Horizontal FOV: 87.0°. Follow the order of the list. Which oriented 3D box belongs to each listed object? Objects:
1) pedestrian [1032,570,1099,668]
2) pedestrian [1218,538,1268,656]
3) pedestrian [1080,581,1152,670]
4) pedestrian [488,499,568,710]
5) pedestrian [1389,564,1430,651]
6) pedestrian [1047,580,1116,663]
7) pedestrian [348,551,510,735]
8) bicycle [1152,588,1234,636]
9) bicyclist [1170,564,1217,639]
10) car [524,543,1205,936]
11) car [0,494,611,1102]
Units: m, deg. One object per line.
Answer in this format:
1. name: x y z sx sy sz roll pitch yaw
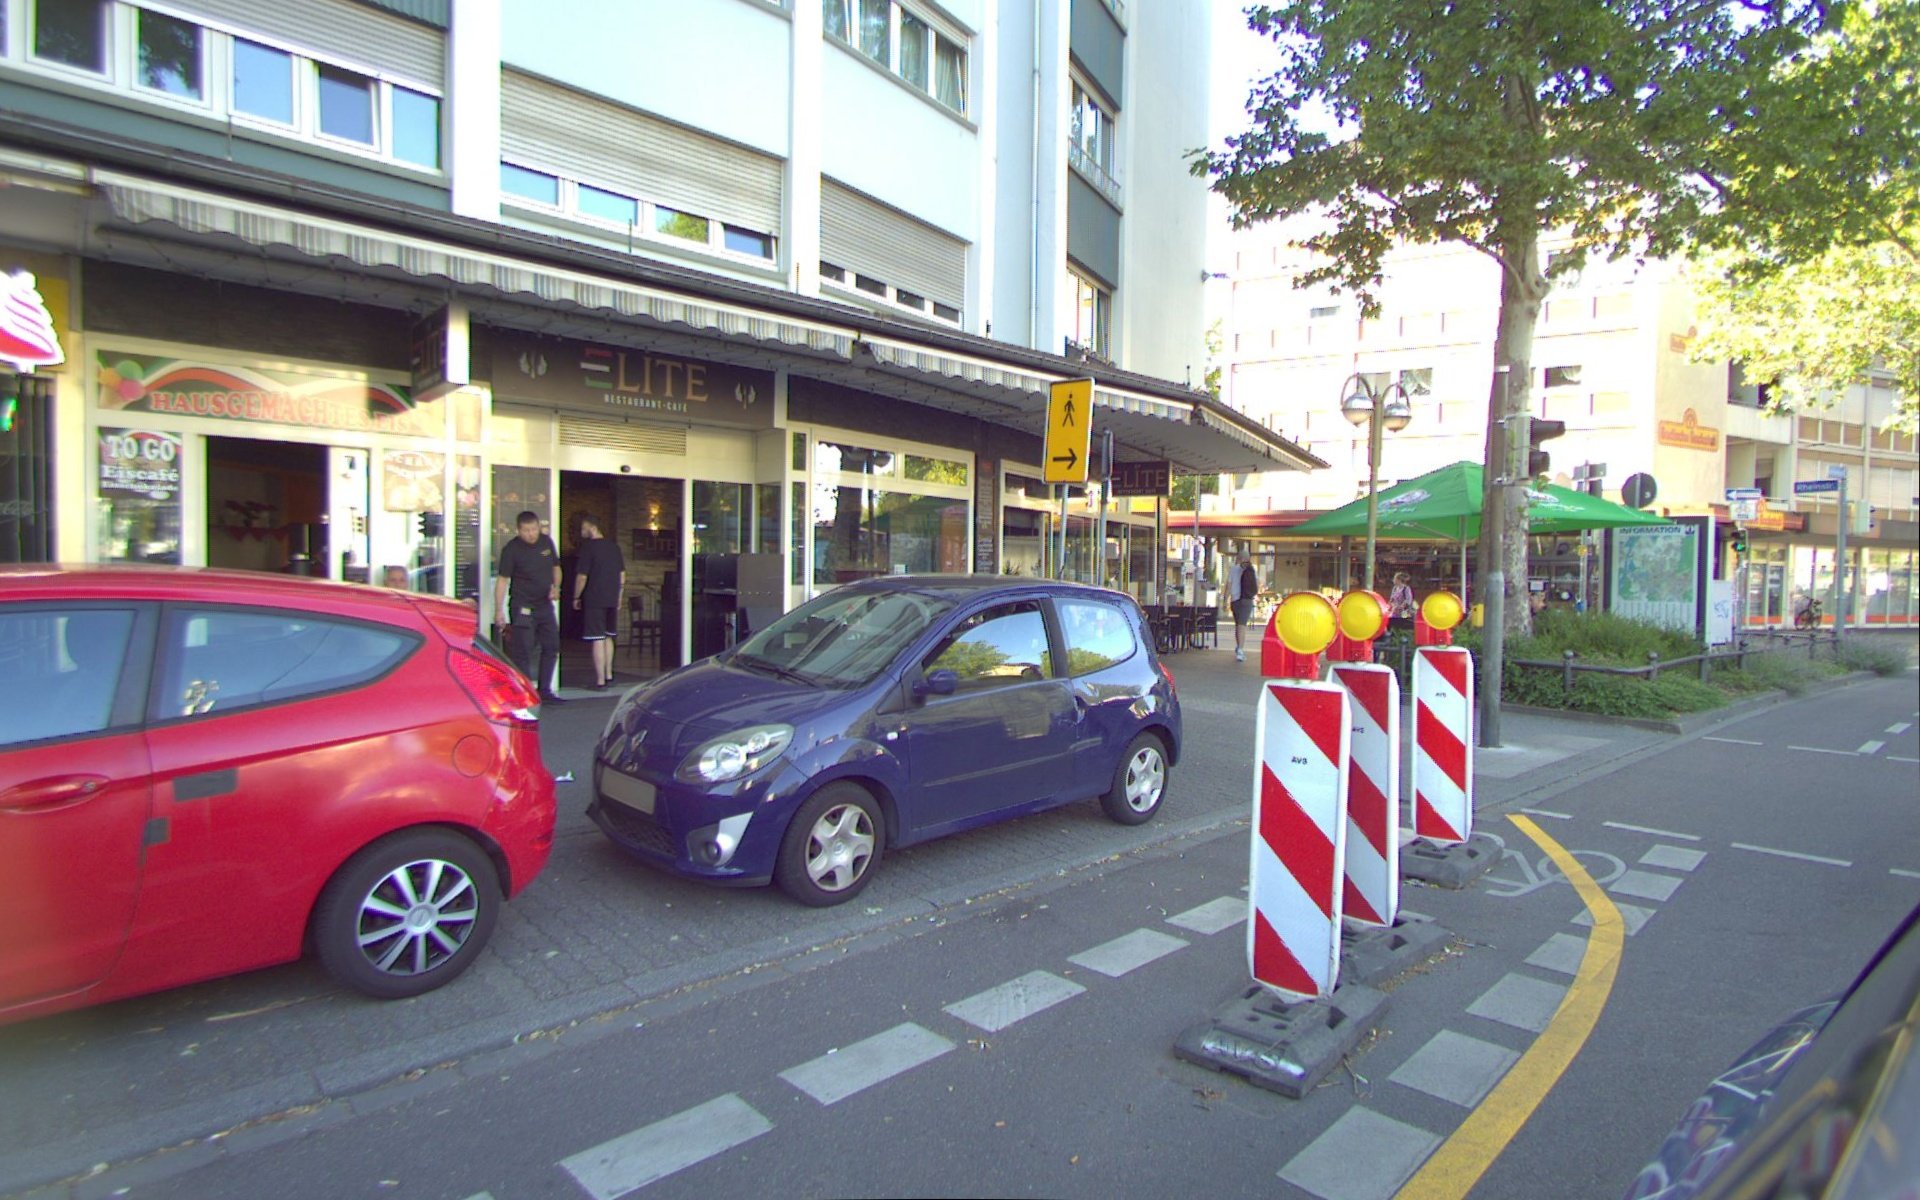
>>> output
1. pedestrian: 1.466 0.254 14.193 0.685 1.323 0.793 1 1 -13
2. pedestrian: 4.903 -0.063 17.505 0.642 1.983 0.881 1 1 26
3. pedestrian: 2.212 0.342 14.424 0.685 1.207 0.881 0 1 -18
4. pedestrian: -3.835 0.023 8.985 0.547 1.800 0.395 -1 4 -43
5. pedestrian: 8.834 0.134 19.909 0.624 1.657 0.525 2 1 34
6. pedestrian: 1.826 0.306 15.182 0.776 1.207 0.648 0 2 -34
7. pedestrian: -4.286 0.297 8.156 0.937 1.352 1.069 0 2 -42
8. bicycle: 5.864 0.289 25.517 1.875 1.144 0.742 1 1 37
9. bicyclist: 5.889 0.018 25.506 0.921 1.849 0.743 2 1 38
10. car: -0.372 0.502 5.849 3.551 1.485 1.769 -1 5 -44
11. car: -3.300 0.470 3.168 3.761 1.614 1.784 -1 5 -45
